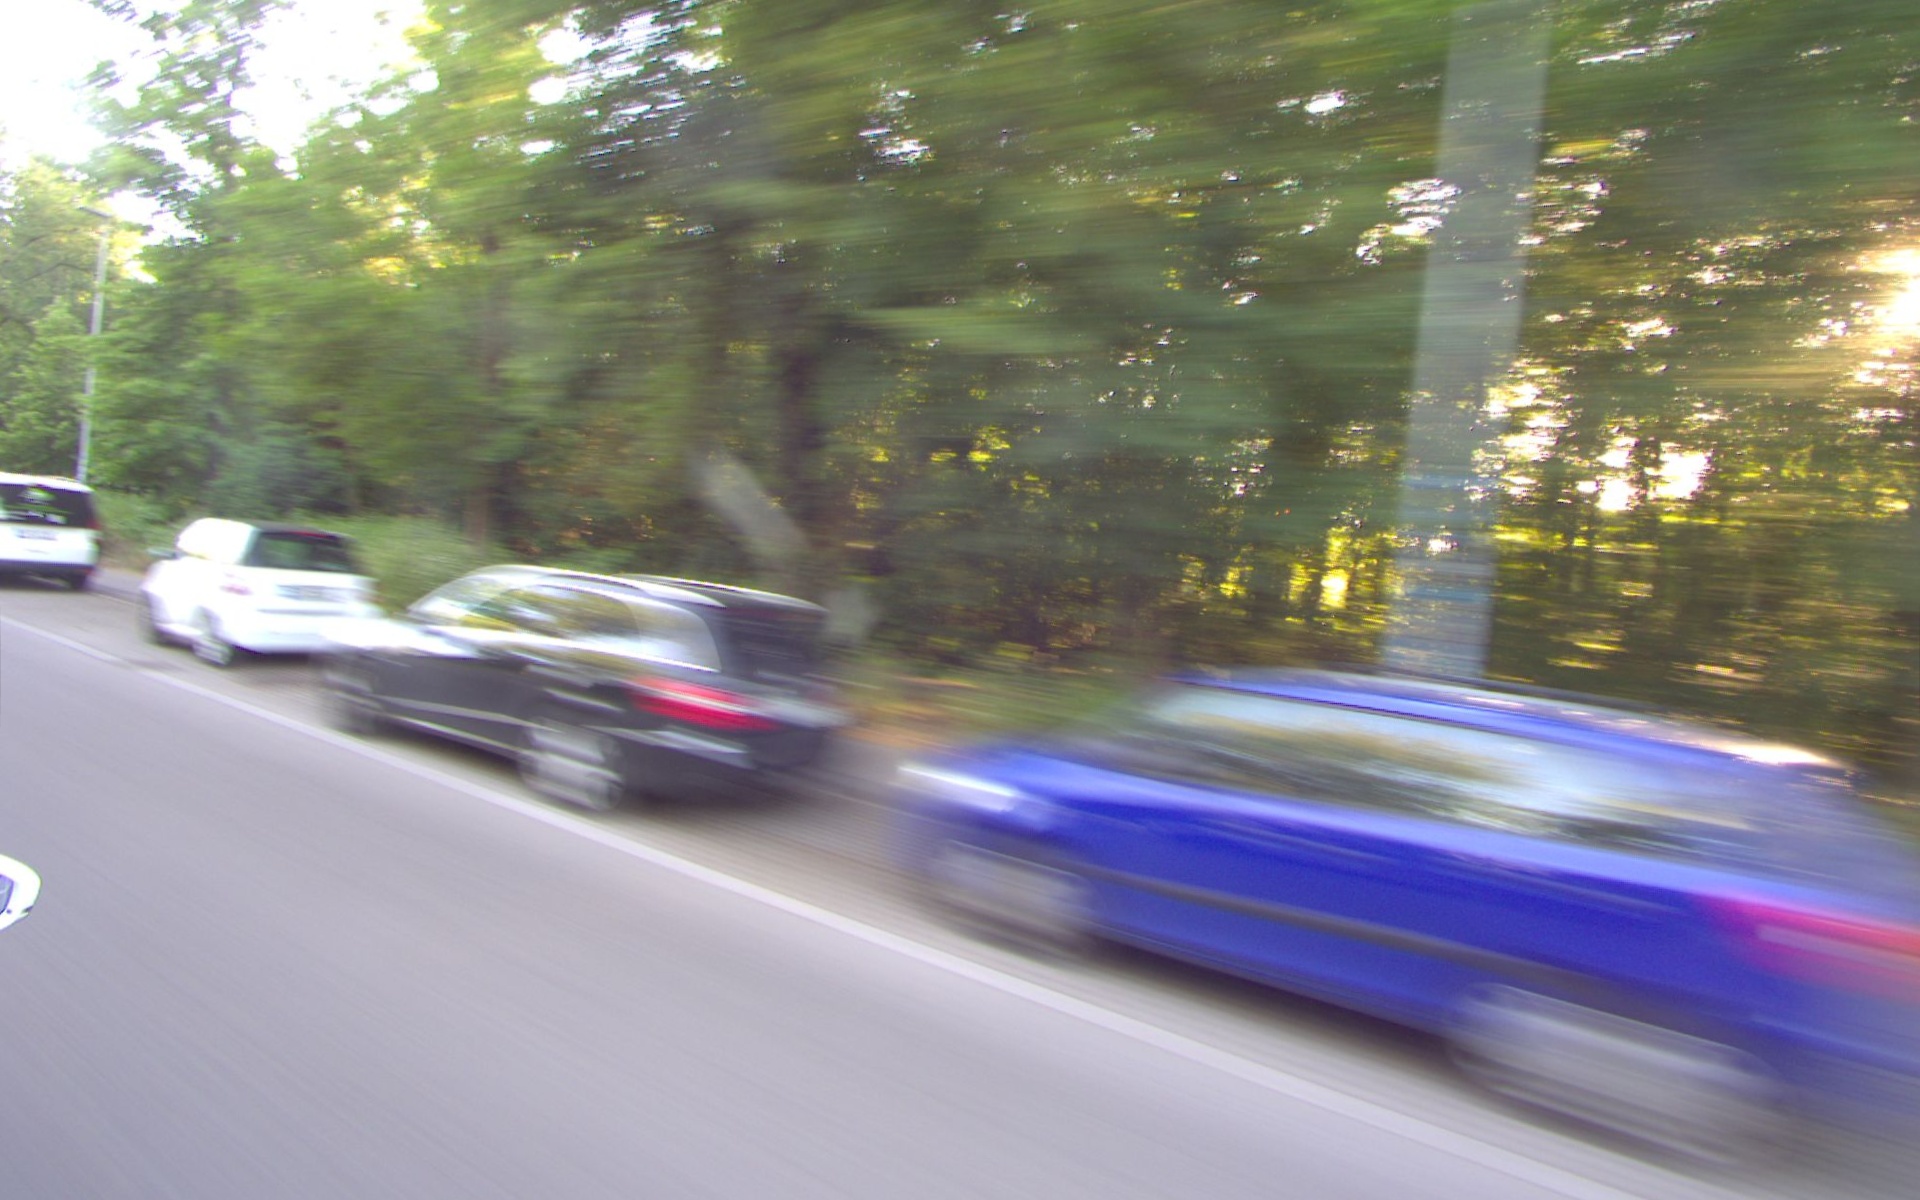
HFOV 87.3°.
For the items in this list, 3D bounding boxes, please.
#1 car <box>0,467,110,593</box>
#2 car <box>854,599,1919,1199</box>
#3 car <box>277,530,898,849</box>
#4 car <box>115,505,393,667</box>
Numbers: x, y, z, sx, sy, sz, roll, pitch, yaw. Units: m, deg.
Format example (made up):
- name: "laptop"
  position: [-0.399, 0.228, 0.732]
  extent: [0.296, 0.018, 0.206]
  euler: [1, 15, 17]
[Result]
- name: "car"
  position: [-16.373, -1.296, 16.909]
  extent: [4.659, 1.827, 1.760]
  euler: [6, 0, 32]
- name: "car"
  position: [1.767, 1.020, 4.789]
  extent: [4.281, 1.554, 1.679]
  euler: [6, 0, 32]
- name: "car"
  position: [-3.044, 0.474, 7.750]
  extent: [4.907, 1.554, 1.760]
  euler: [6, 0, 32]
- name: "car"
  position: [-8.265, -0.183, 11.726]
  extent: [3.130, 1.514, 1.586]
  euler: [6, 0, 35]
